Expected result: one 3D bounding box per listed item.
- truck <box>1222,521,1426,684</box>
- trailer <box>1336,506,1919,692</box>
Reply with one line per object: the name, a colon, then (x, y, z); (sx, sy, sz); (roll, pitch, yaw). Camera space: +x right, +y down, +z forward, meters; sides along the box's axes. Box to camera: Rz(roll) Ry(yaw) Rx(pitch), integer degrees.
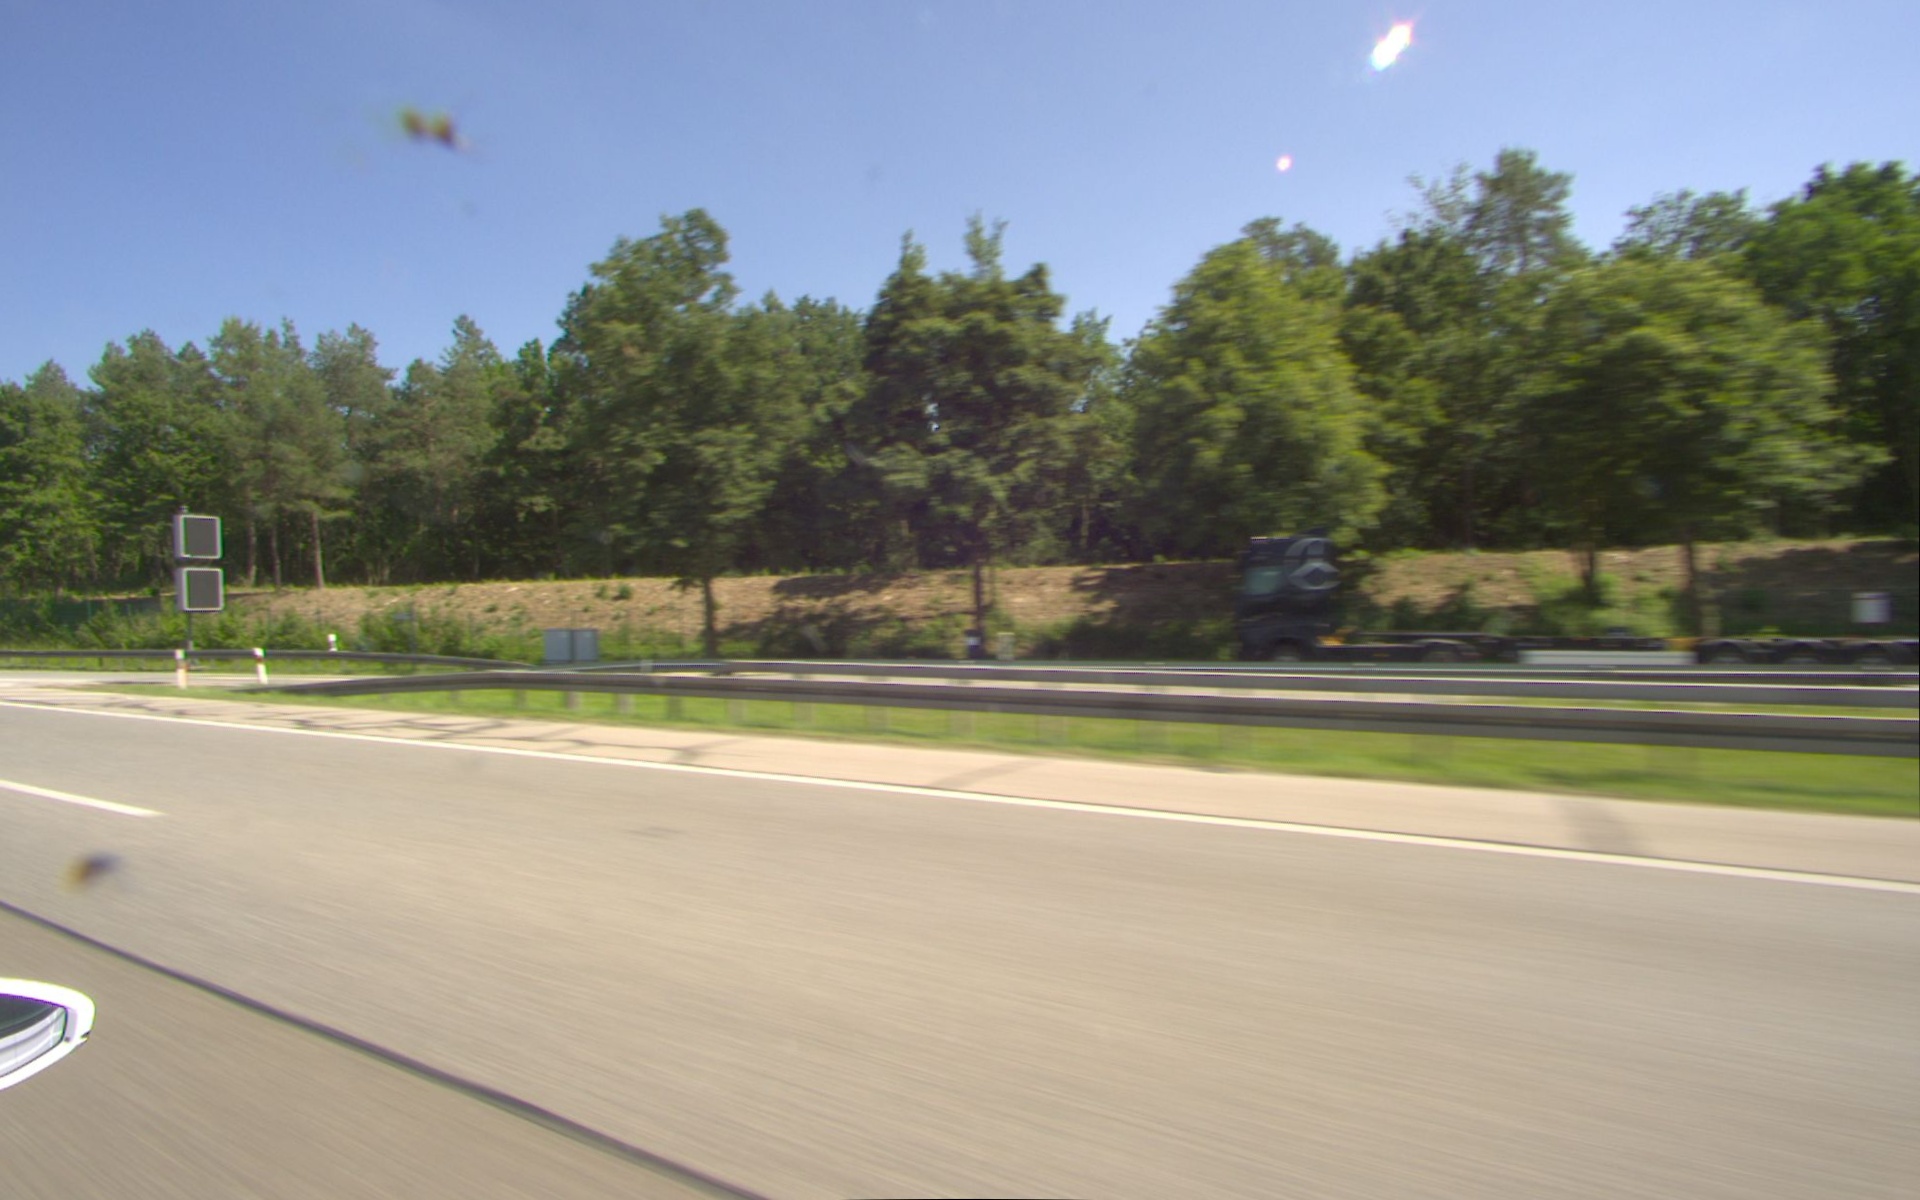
truck: (9.466, 0.119, 26.352); (4.780, 3.966, 2.576); (-1, -1, 19)
trailer: (15.837, 0.060, 24.170); (12.523, 3.966, 2.576); (-1, -1, 19)
